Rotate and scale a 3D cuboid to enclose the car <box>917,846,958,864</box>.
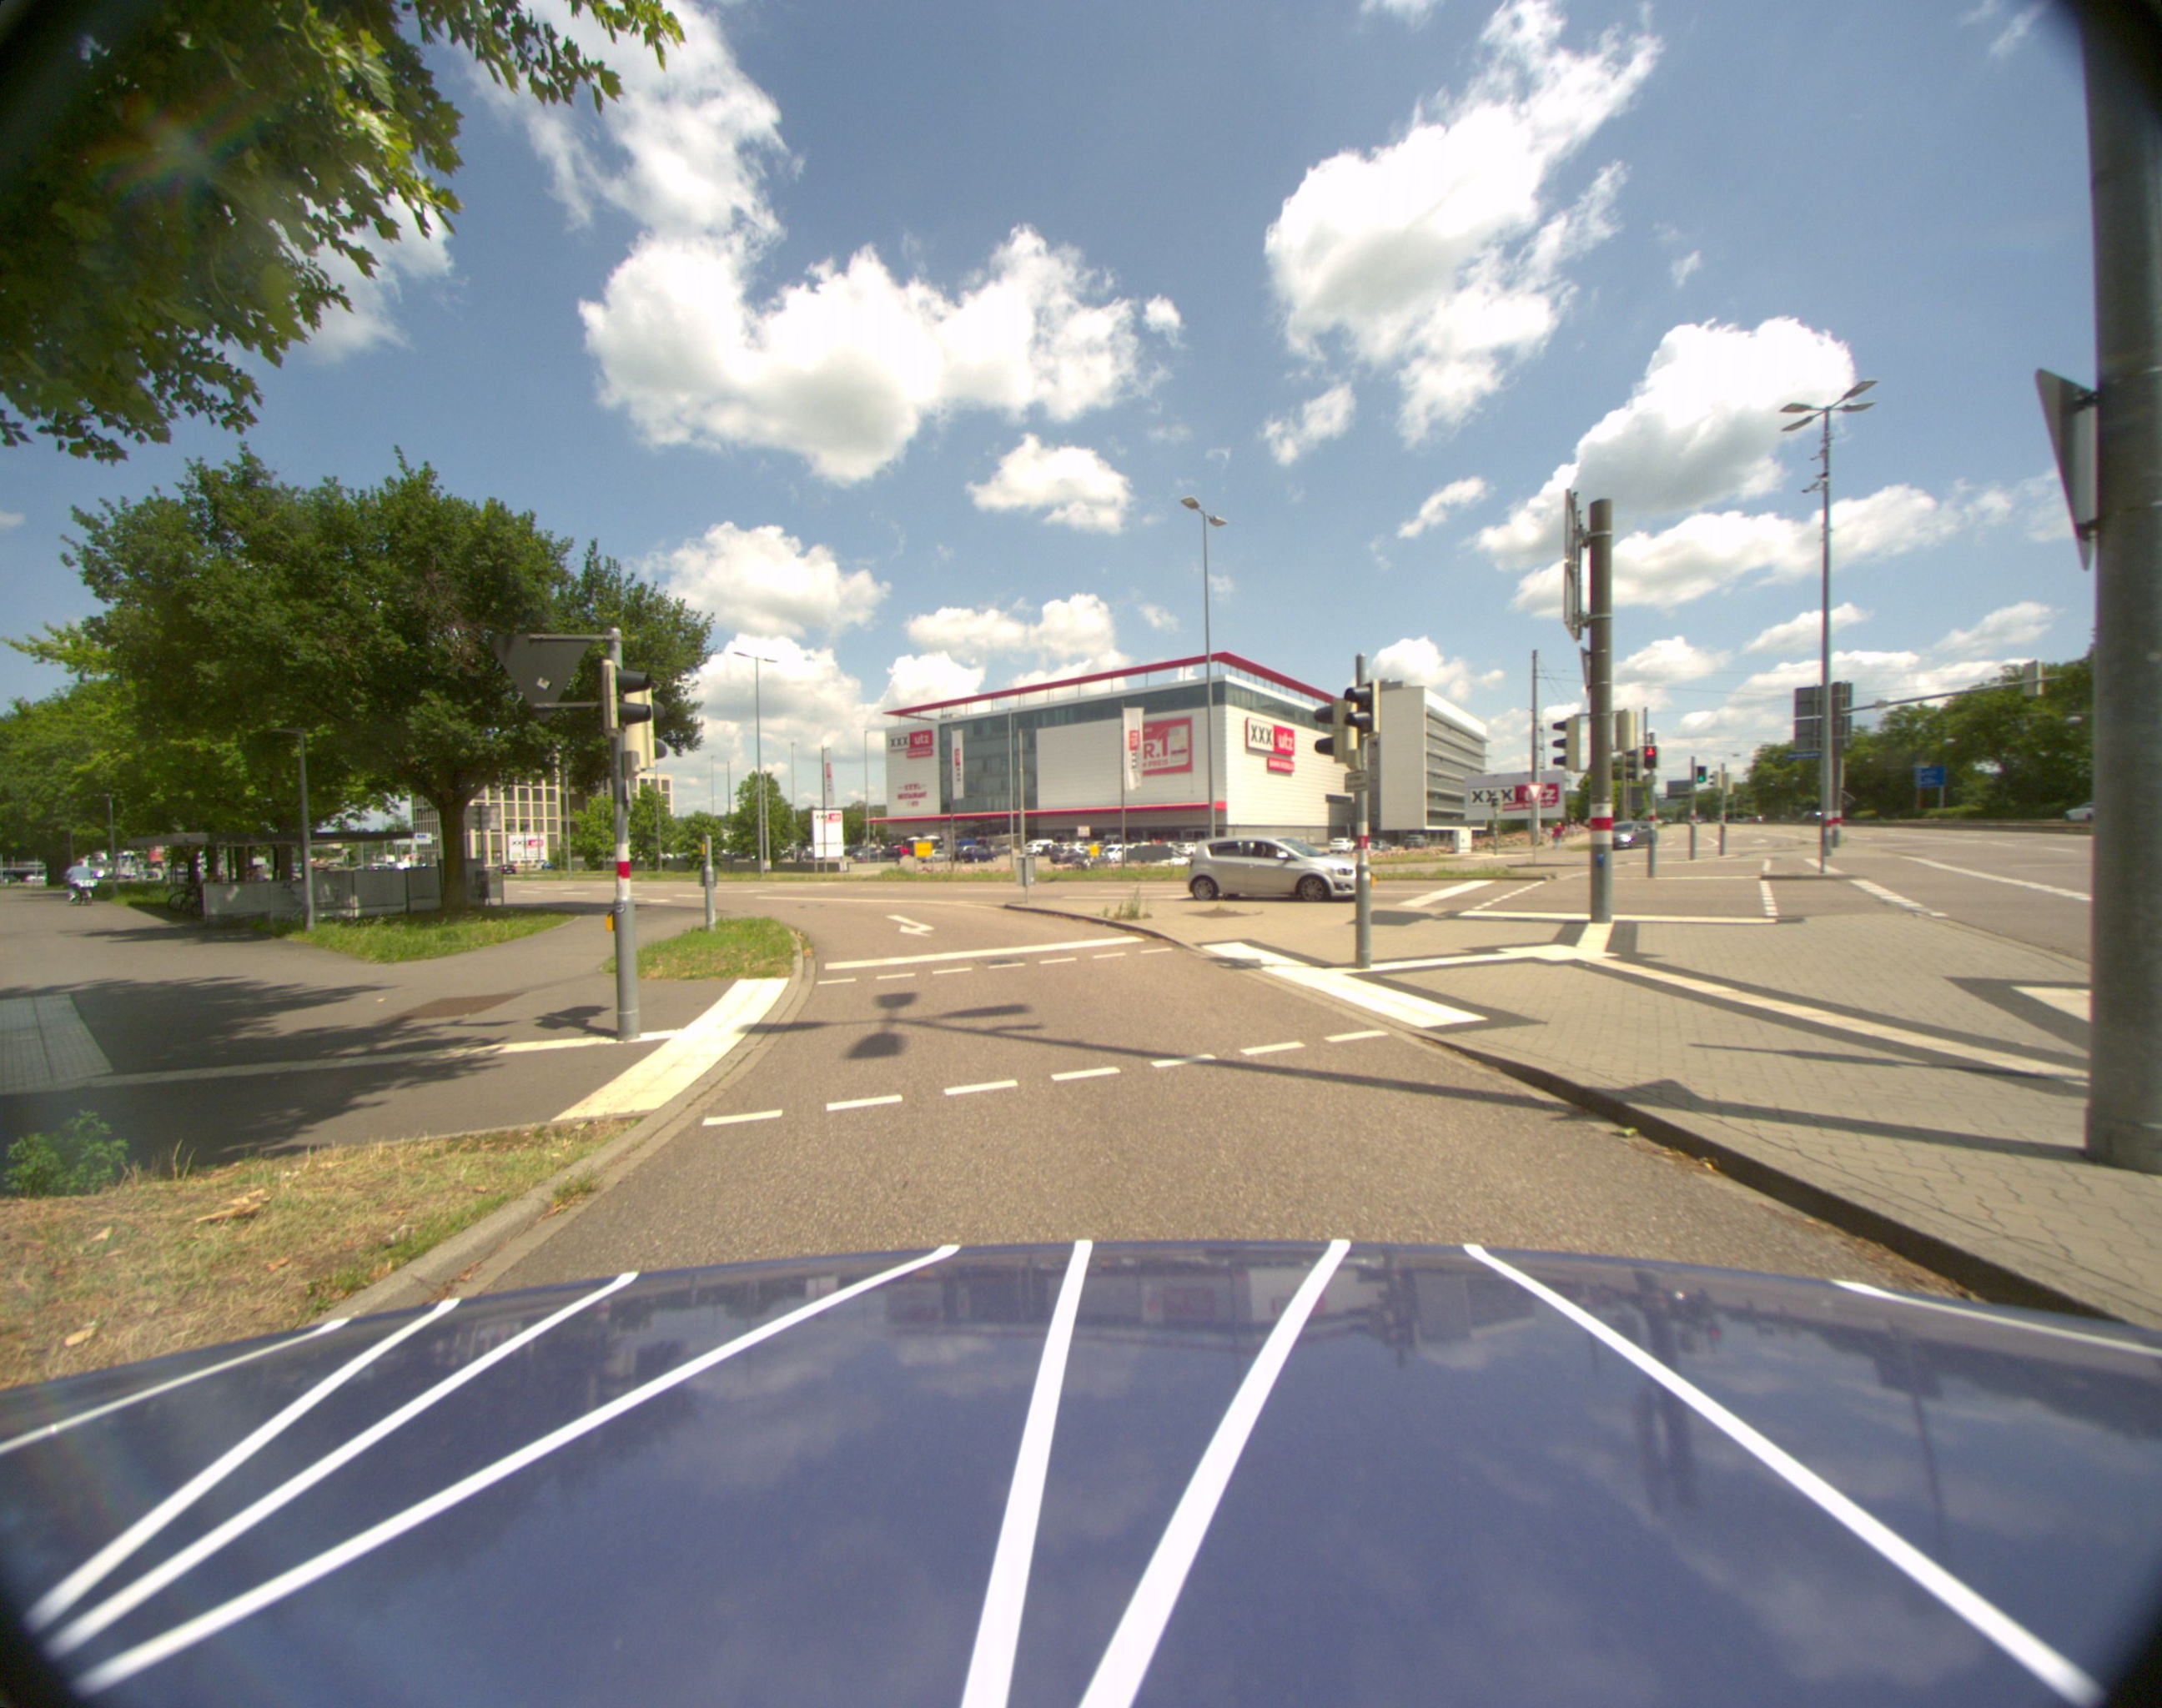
[{"bbox_3d":[-16.376,0.083,87.148,1.994,1.978,4.371,-1,1,37],"label":"car"}]

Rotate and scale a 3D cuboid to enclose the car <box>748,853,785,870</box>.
[{"bbox_3d":[-45.424,1.119,109.830,1.994,2.315,4.371,0,1,37],"label":"car"}]

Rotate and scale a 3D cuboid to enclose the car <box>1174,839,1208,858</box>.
[{"bbox_3d":[12.223,-0.592,84.327,1.994,1.978,4.094,-1,1,37],"label":"car"}]

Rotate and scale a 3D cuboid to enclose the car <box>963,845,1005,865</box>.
[{"bbox_3d":[-10.539,0.069,83.042,1.994,1.978,4.371,-1,2,37],"label":"car"}]

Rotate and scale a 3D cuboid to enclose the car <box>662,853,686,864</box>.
[{"bbox_3d":[-72.015,0.845,134.519,4.661,1.822,1.860,-1,0,37],"label":"car"}]

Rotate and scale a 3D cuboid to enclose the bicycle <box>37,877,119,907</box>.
[{"bbox_3d":[-38.533,1.468,29.219,2.015,1.101,0.576,0,0,-12],"label":"bicycle"}]

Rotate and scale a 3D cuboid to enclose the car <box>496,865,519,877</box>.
[{"bbox_3d":[-77.078,2.285,102.112,4.104,1.461,1.628,-1,0,42],"label":"car"}]

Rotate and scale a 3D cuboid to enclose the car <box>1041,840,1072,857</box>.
[{"bbox_3d":[-3.032,-0.743,96.432,1.772,2.002,4.008,-1,1,37],"label":"car"}]

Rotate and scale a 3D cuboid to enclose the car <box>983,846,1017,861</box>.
[{"bbox_3d":[-10.930,-0.091,102.811,1.994,1.977,4.372,-1,0,38],"label":"car"}]

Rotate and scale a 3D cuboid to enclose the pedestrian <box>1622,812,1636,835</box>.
[{"bbox_3d":[48.176,-2.677,66.799,0.568,2.002,0.773,-2,1,-32],"label":"pedestrian"}]

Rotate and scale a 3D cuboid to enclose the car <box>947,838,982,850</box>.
[{"bbox_3d":[-17.634,-1.513,114.804,2.193,1.768,5.144,-1,0,36],"label":"car"}]

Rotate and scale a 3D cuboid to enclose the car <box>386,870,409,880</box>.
[{"bbox_3d":[-97.333,3.010,108.217,4.295,1.244,1.801,-2,0,39],"label":"car"}]

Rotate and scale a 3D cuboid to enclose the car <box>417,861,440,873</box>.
[{"bbox_3d":[-93.966,1.911,109.445,4.215,1.691,1.801,-2,0,39],"label":"car"}]

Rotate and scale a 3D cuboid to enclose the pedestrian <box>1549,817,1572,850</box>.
[{"bbox_3d":[27.243,-1.174,43.162,0.866,1.828,0.798,-2,3,9],"label":"pedestrian"}]

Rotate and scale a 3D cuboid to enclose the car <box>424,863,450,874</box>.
[{"bbox_3d":[-88.886,1.979,104.920,4.831,1.394,1.801,-2,2,39],"label":"car"}]

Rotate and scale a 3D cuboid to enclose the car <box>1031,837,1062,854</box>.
[{"bbox_3d":[-4.833,-1.191,106.720,1.864,2.293,4.580,0,1,37],"label":"car"}]

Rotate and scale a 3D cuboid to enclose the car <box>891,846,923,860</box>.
[{"bbox_3d":[-26.417,-0.147,115.522,1.994,1.978,4.371,-1,1,37],"label":"car"}]

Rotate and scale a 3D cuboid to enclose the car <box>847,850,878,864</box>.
[{"bbox_3d":[-34.522,0.484,120.085,1.994,1.978,4.371,-1,1,37],"label":"car"}]

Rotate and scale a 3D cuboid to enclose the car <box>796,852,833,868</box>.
[{"bbox_3d":[-35.942,0.861,102.538,1.995,1.977,4.371,-2,0,37],"label":"car"}]

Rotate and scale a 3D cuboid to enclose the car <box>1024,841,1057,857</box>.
[{"bbox_3d":[-5.201,-0.624,98.117,1.994,1.978,4.371,-1,1,37],"label":"car"}]

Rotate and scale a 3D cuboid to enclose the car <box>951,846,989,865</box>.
[{"bbox_3d":[-12.344,0.139,84.657,1.837,1.978,4.092,0,3,36],"label":"car"}]

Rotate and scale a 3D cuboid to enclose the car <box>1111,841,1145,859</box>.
[{"bbox_3d":[5.479,-0.441,87.978,1.994,1.978,4.094,-1,1,37],"label":"car"}]

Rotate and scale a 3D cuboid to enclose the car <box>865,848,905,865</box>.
[{"bbox_3d":[-24.249,0.325,94.122,1.994,1.978,4.371,-1,1,37],"label":"car"}]

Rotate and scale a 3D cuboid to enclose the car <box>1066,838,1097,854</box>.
[{"bbox_3d":[0.057,-1.056,100.581,1.994,2.002,4.008,-1,1,37],"label":"car"}]

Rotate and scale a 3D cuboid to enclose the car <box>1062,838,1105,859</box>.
[{"bbox_3d":[0.264,-0.598,74.659,1.994,1.978,4.371,-1,1,37],"label":"car"}]

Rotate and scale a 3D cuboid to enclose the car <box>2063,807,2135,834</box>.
[{"bbox_3d":[72.128,-2.325,53.937,1.994,1.797,5.144,0,1,41],"label":"car"}]

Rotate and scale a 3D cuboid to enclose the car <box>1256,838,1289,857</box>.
[{"bbox_3d":[21.468,-0.750,84.948,1.994,1.978,4.371,-1,1,37],"label":"car"}]

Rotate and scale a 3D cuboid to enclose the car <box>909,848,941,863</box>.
[{"bbox_3d":[-22.873,0.201,111.554,1.994,1.978,4.371,-1,1,37],"label":"car"}]

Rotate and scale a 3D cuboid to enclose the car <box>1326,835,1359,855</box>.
[{"bbox_3d":[27.531,-0.952,79.923,1.994,1.978,4.371,-1,1,37],"label":"car"}]

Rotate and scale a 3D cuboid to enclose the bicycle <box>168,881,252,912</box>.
[{"bbox_3d":[-30.401,1.481,26.558,0.422,0.989,1.872,1,0,33],"label":"bicycle"}]

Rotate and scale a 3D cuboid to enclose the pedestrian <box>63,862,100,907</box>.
[{"bbox_3d":[-38.461,1.155,29.245,0.524,1.712,0.634,0,2,-10],"label":"pedestrian"}]

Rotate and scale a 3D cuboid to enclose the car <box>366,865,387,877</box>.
[{"bbox_3d":[-107.152,2.583,115.501,4.159,1.635,1.801,-2,0,41],"label":"car"}]

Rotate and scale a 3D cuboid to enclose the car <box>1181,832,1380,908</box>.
[{"bbox_3d":[4.455,0.384,17.133,3.823,1.461,1.903,-3,2,36],"label":"car"}]

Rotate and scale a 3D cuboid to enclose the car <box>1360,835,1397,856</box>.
[{"bbox_3d":[28.695,-0.850,73.164,2.243,1.978,4.371,-1,1,37],"label":"car"}]

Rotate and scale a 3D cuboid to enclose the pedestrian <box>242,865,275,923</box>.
[{"bbox_3d":[-24.029,1.153,22.194,0.547,1.653,0.544,-3,2,-42],"label":"pedestrian"}]

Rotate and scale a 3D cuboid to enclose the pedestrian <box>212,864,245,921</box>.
[{"bbox_3d":[-25.267,1.129,22.519,0.477,1.653,0.547,-1,1,36],"label":"pedestrian"}]

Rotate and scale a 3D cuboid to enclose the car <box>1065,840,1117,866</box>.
[{"bbox_3d":[0.880,-0.117,61.694,1.994,1.978,4.371,-1,1,37],"label":"car"}]

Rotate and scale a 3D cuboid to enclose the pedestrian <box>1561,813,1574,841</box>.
[{"bbox_3d":[32.256,-1.780,50.371,0.536,1.800,0.595,-2,1,-42],"label":"pedestrian"}]

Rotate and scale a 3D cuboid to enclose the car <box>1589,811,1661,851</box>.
[{"bbox_3d":[29.260,-1.225,40.847,4.007,2.002,1.995,-2,1,-37],"label":"car"}]

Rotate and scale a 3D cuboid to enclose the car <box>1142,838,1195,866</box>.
[{"bbox_3d":[6.560,-0.155,56.601,1.994,1.978,4.371,-1,1,37],"label":"car"}]

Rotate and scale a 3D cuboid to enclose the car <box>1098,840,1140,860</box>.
[{"bbox_3d":[3.703,-0.447,73.563,1.994,1.829,4.371,-1,1,37],"label":"car"}]

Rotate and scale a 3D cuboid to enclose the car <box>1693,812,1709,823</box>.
[{"bbox_3d":[119.277,-6.966,146.213,1.994,2.002,4.008,-1,1,44],"label":"car"}]

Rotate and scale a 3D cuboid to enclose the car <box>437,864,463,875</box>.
[{"bbox_3d":[-83.840,2.088,100.882,4.660,1.409,1.801,0,0,39],"label":"car"}]

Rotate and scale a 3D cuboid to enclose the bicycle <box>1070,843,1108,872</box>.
[{"bbox_3d":[0.466,0.233,45.163,2.043,1.666,1.023,-1,1,37],"label":"bicycle"}]

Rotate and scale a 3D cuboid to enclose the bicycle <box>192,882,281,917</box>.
[{"bbox_3d":[-27.553,1.459,24.819,0.422,0.989,1.871,1,2,33],"label":"bicycle"}]

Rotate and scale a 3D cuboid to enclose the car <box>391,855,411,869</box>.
[{"bbox_3d":[-105.312,1.253,117.645,3.566,2.031,1.867,-2,0,41],"label":"car"}]

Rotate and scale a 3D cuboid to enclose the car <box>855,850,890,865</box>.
[{"bbox_3d":[-28.517,0.466,103.985,1.986,2.031,4.309,0,1,37],"label":"car"}]

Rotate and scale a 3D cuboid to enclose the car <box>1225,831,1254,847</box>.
[{"bbox_3d":[20.462,-1.963,97.734,1.994,1.978,4.094,0,1,39],"label":"car"}]

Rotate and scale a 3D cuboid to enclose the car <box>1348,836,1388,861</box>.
[{"bbox_3d":[23.790,-0.496,62.877,1.994,1.978,4.371,-1,1,37],"label":"car"}]

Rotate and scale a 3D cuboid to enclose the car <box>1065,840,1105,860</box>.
[{"bbox_3d":[0.455,-0.441,81.099,1.994,1.978,4.371,1,2,37],"label":"car"}]
